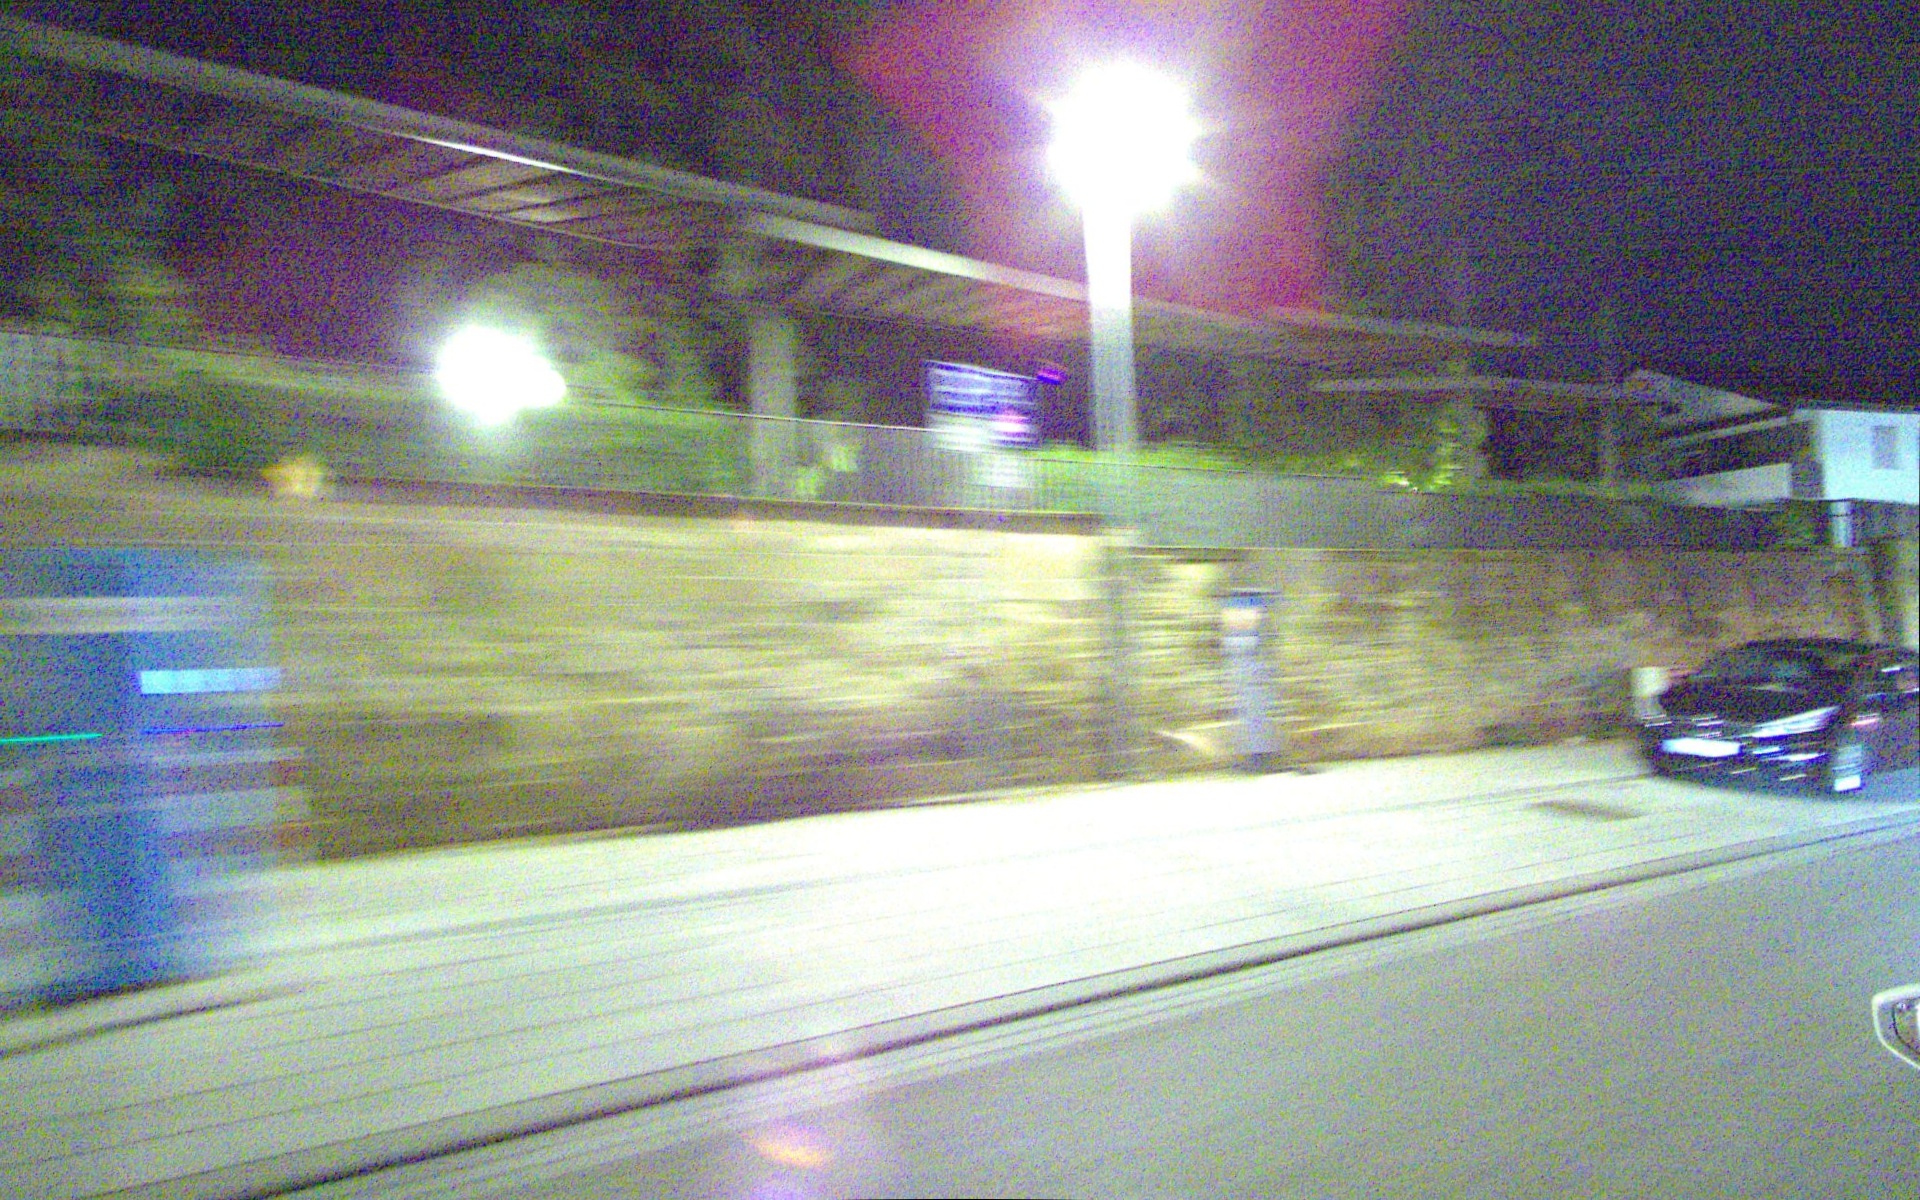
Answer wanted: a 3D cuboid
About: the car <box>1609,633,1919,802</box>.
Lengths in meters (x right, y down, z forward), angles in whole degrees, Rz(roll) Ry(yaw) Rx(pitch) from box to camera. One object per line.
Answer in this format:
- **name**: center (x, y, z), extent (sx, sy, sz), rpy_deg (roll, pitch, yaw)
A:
- **car**: center (8.913, 1.106, 10.632), extent (4.076, 1.456, 1.685), rpy_deg (1, -1, -28)
